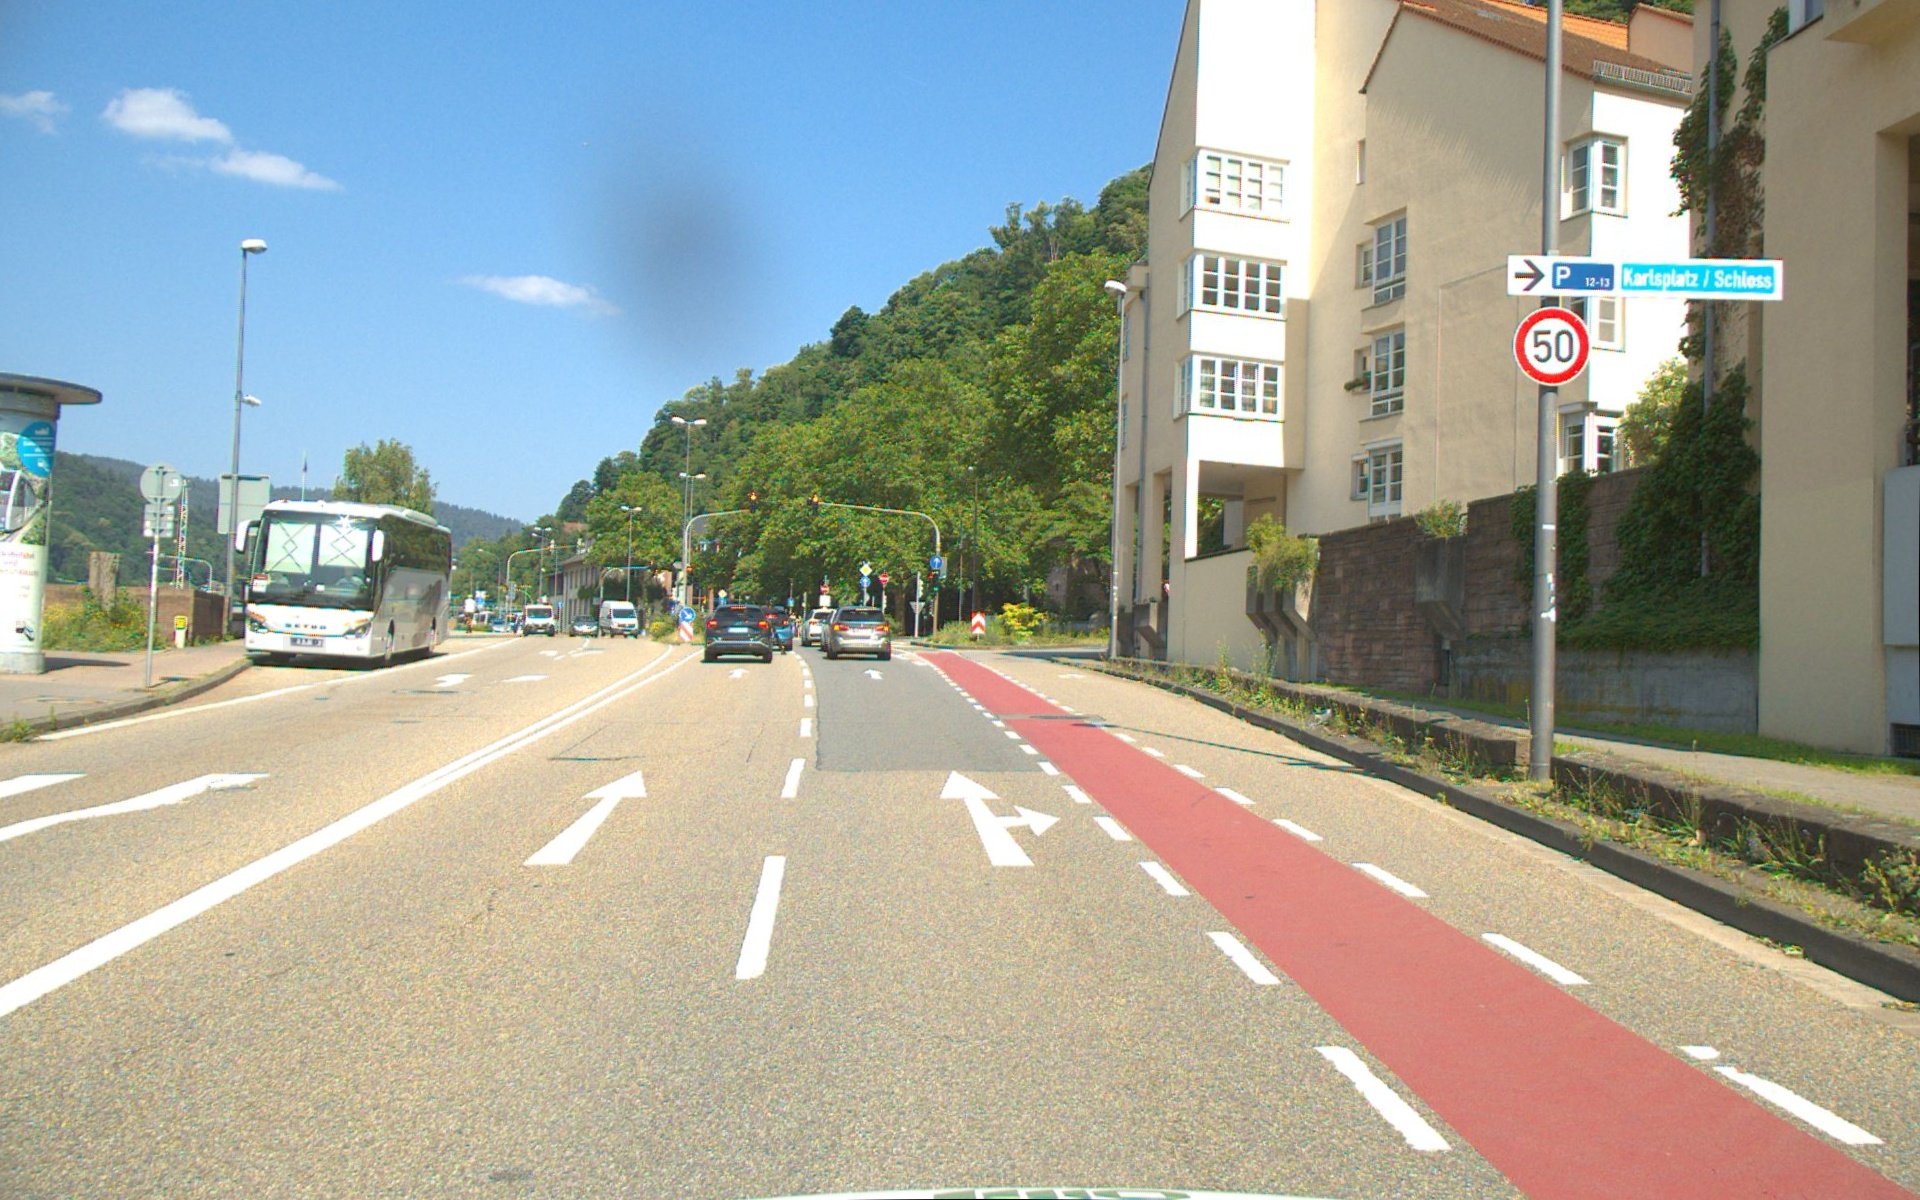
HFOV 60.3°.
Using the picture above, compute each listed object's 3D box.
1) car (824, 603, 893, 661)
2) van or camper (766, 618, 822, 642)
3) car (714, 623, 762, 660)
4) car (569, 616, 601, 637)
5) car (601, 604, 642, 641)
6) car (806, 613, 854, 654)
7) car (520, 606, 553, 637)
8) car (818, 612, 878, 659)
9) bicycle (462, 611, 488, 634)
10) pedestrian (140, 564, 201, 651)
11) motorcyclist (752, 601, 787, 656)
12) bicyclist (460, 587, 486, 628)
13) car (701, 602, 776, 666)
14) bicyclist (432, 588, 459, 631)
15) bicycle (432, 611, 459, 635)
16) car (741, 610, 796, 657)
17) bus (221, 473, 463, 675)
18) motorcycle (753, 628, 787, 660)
[{"bbox_3d":[-3.032,0.949,48.868,1.852,1.548,4.300,3,-2,-5],"label":"car"},{"bbox_3d":[-14.306,2.576,142.525,4.445,1.935,2.002,1,-1,10],"label":"van or camper"},{"bbox_3d":[-8.890,1.630,66.203,1.831,1.382,3.993,1,-1,-8],"label":"car"},{"bbox_3d":[-27.029,1.907,119.049,1.961,1.457,4.148,1,-1,-16],"label":"car"},{"bbox_3d":[-25.275,1.624,123.243,2.346,2.621,6.024,1,0,-18],"label":"car"},{"bbox_3d":[-5.256,1.349,66.569,1.751,1.559,4.729,1,-1,-7],"label":"car"},{"bbox_3d":[-30.049,1.499,117.388,2.177,2.115,5.023,1,0,-15],"label":"car"},{"bbox_3d":[-4.065,1.279,59.518,1.955,1.560,4.852,2,-1,-6],"label":"car"},{"bbox_3d":[-24.224,1.125,82.607,1.193,1.109,2.586,1,0,-16],"label":"bicycle"},{"bbox_3d":[-17.067,0.162,35.768,0.876,1.827,1.038,2,-2,-11],"label":"pedestrian"},{"bbox_3d":[-5.992,0.901,52.175,1.055,1.714,1.154,1,-1,-6],"label":"motorcyclist"},{"bbox_3d":[-24.316,0.386,82.647,1.192,2.049,1.114,1,-1,-16],"label":"bicyclist"},{"bbox_3d":[-5.948,0.912,44.376,1.834,1.540,4.143,3,-2,-8],"label":"car"},{"bbox_3d":[-25.016,0.477,80.434,1.192,2.049,1.114,1,-1,-16],"label":"bicyclist"},{"bbox_3d":[-24.998,1.127,80.406,1.193,1.109,2.586,1,0,-16],"label":"bicycle"},{"bbox_3d":[-6.834,1.177,58.738,1.831,1.590,3.993,1,-1,-8],"label":"car"},{"bbox_3d":[-14.515,-0.509,40.159,2.904,3.866,13.210,5,-1,-10],"label":"bus"},{"bbox_3d":[-5.975,1.365,52.058,1.018,0.936,2.601,1,-1,-6],"label":"motorcycle"}]
